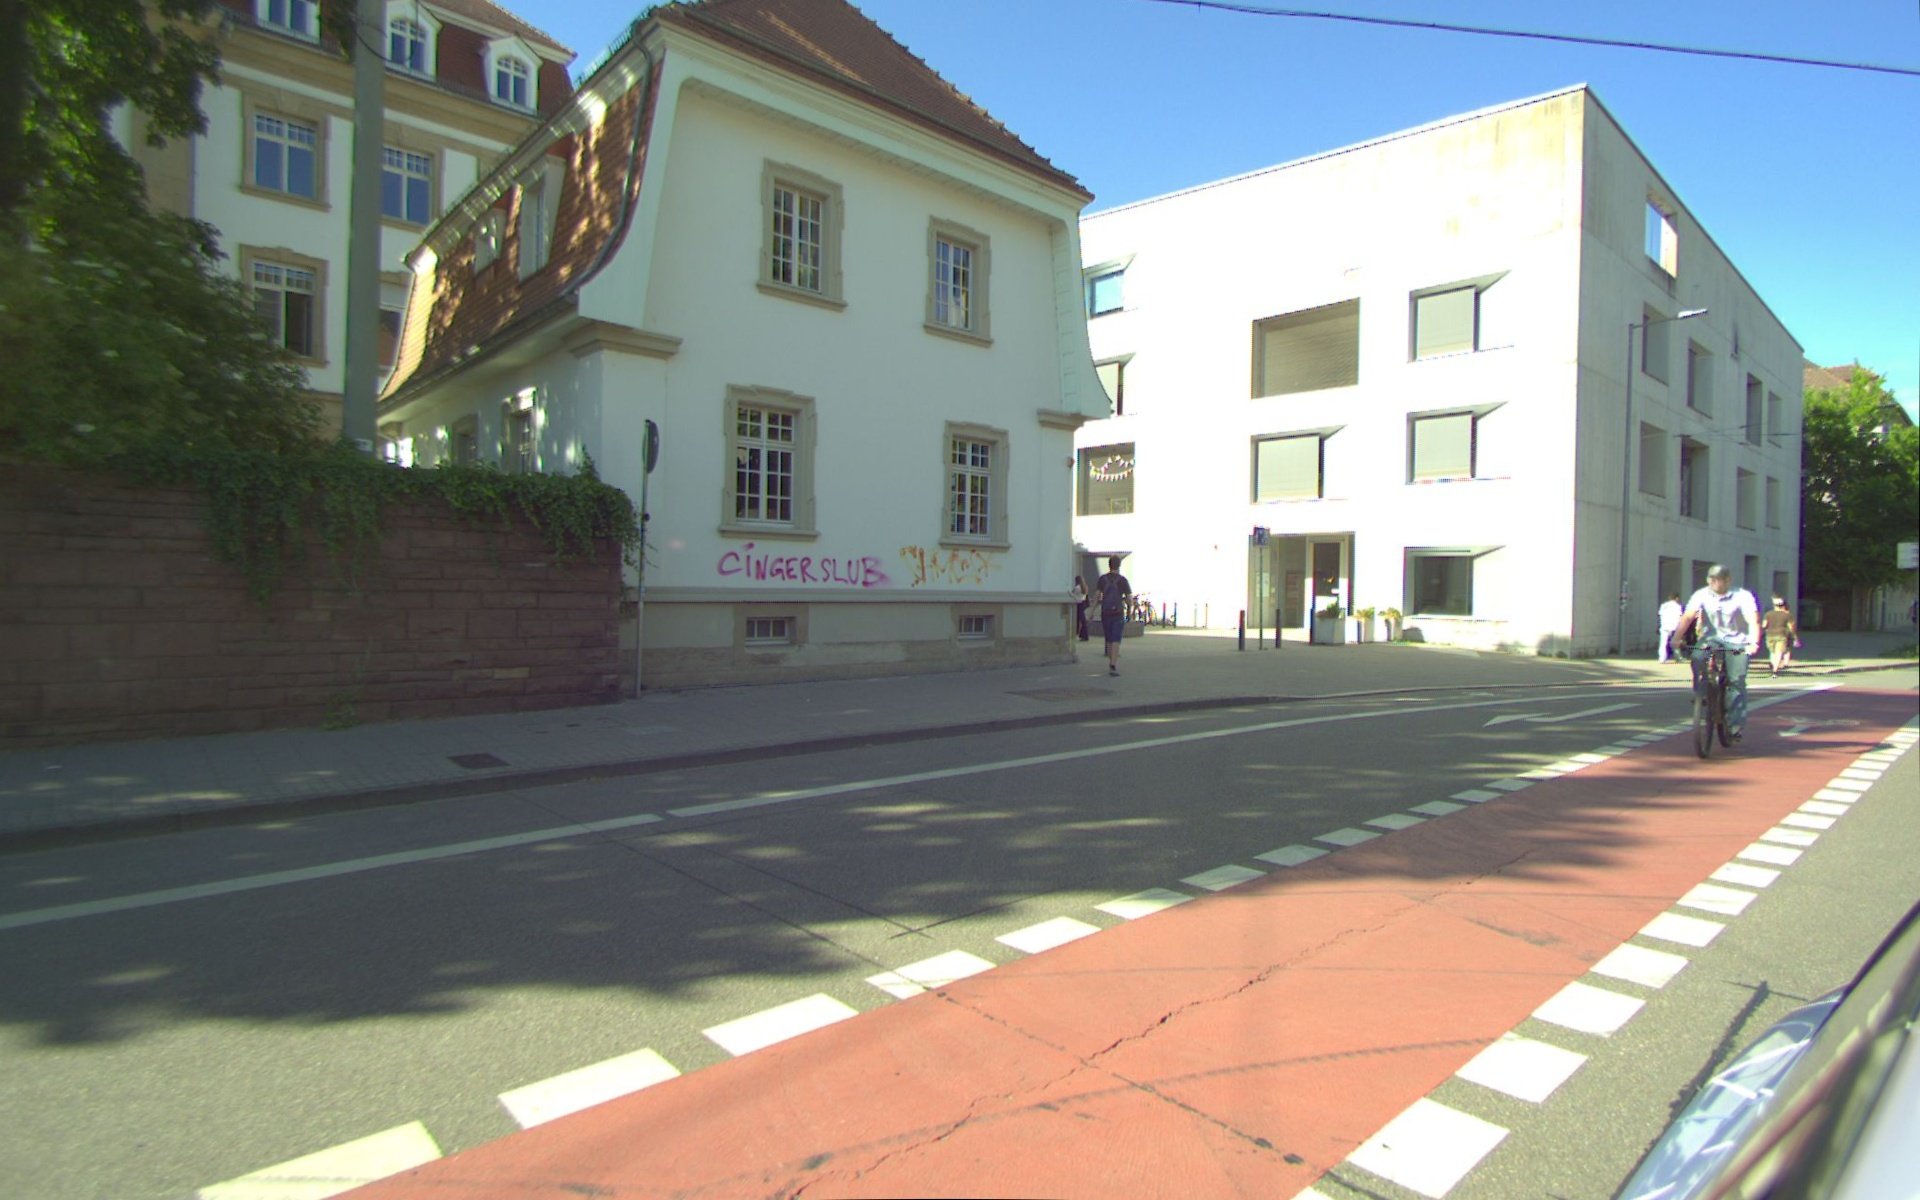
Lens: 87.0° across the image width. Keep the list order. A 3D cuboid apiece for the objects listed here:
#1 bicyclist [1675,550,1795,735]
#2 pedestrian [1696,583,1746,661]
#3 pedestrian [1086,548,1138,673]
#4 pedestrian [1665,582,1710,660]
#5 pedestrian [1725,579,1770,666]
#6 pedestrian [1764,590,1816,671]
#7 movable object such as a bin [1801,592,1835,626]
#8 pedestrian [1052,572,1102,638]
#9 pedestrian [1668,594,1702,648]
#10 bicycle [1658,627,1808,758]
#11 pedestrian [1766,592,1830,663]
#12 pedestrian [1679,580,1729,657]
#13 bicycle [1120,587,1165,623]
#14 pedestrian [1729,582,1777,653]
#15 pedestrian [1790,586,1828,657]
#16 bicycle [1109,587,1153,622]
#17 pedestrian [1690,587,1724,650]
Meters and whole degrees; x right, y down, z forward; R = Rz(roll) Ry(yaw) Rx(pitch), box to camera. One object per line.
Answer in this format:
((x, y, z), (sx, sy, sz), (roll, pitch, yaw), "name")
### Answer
((7.596, 0.391, 9.913), (0.954, 1.707, 0.740), (1, -1, -40), "bicyclist")
((17.996, 0.514, 23.930), (0.721, 1.795, 0.531), (1, 4, -28), "pedestrian")
((2.472, 0.142, 16.355), (0.630, 1.927, 1.130), (3, 2, 14), "pedestrian")
((17.566, 0.501, 24.439), (0.641, 1.795, 0.611), (0, 5, -40), "pedestrian")
((18.070, 0.507, 23.217), (0.600, 1.925, 0.521), (1, 4, -34), "pedestrian")
((18.765, 0.682, 22.886), (0.704, 1.767, 0.609), (1, 4, -34), "pedestrian")
((38.101, 0.378, 44.942), (1.331, 1.481, 0.935), (0, 1, -40), "movable object such as a bin")
((3.075, 0.109, 26.642), (0.990, 1.660, 0.846), (2, 3, 44), "pedestrian")
((19.519, 0.545, 27.245), (0.751, 1.422, 0.519), (0, 1, -39), "pedestrian")
((7.609, 0.846, 9.920), (2.074, 1.108, 0.740), (0, 0, -40), "bicycle")
((20.485, 0.670, 24.745), (0.876, 1.623, 0.833), (1, 5, -31), "pedestrian")
((18.309, 0.453, 24.915), (0.717, 1.823, 0.660), (1, 4, -34), "pedestrian")
((5.870, 0.144, 32.479), (1.557, 1.108, 0.498), (0, 1, -38), "bicycle")
((21.015, 0.452, 26.808), (0.938, 1.783, 0.649), (0, 5, -39), "pedestrian")
((21.784, 0.537, 25.966), (0.802, 1.748, 0.496), (0, 5, -43), "pedestrian")
((5.568, 0.135, 32.884), (1.563, 1.108, 0.498), (-1, 2, -38), "bicycle")
((19.697, 0.467, 26.672), (0.751, 1.620, 0.519), (0, 1, -39), "pedestrian")
